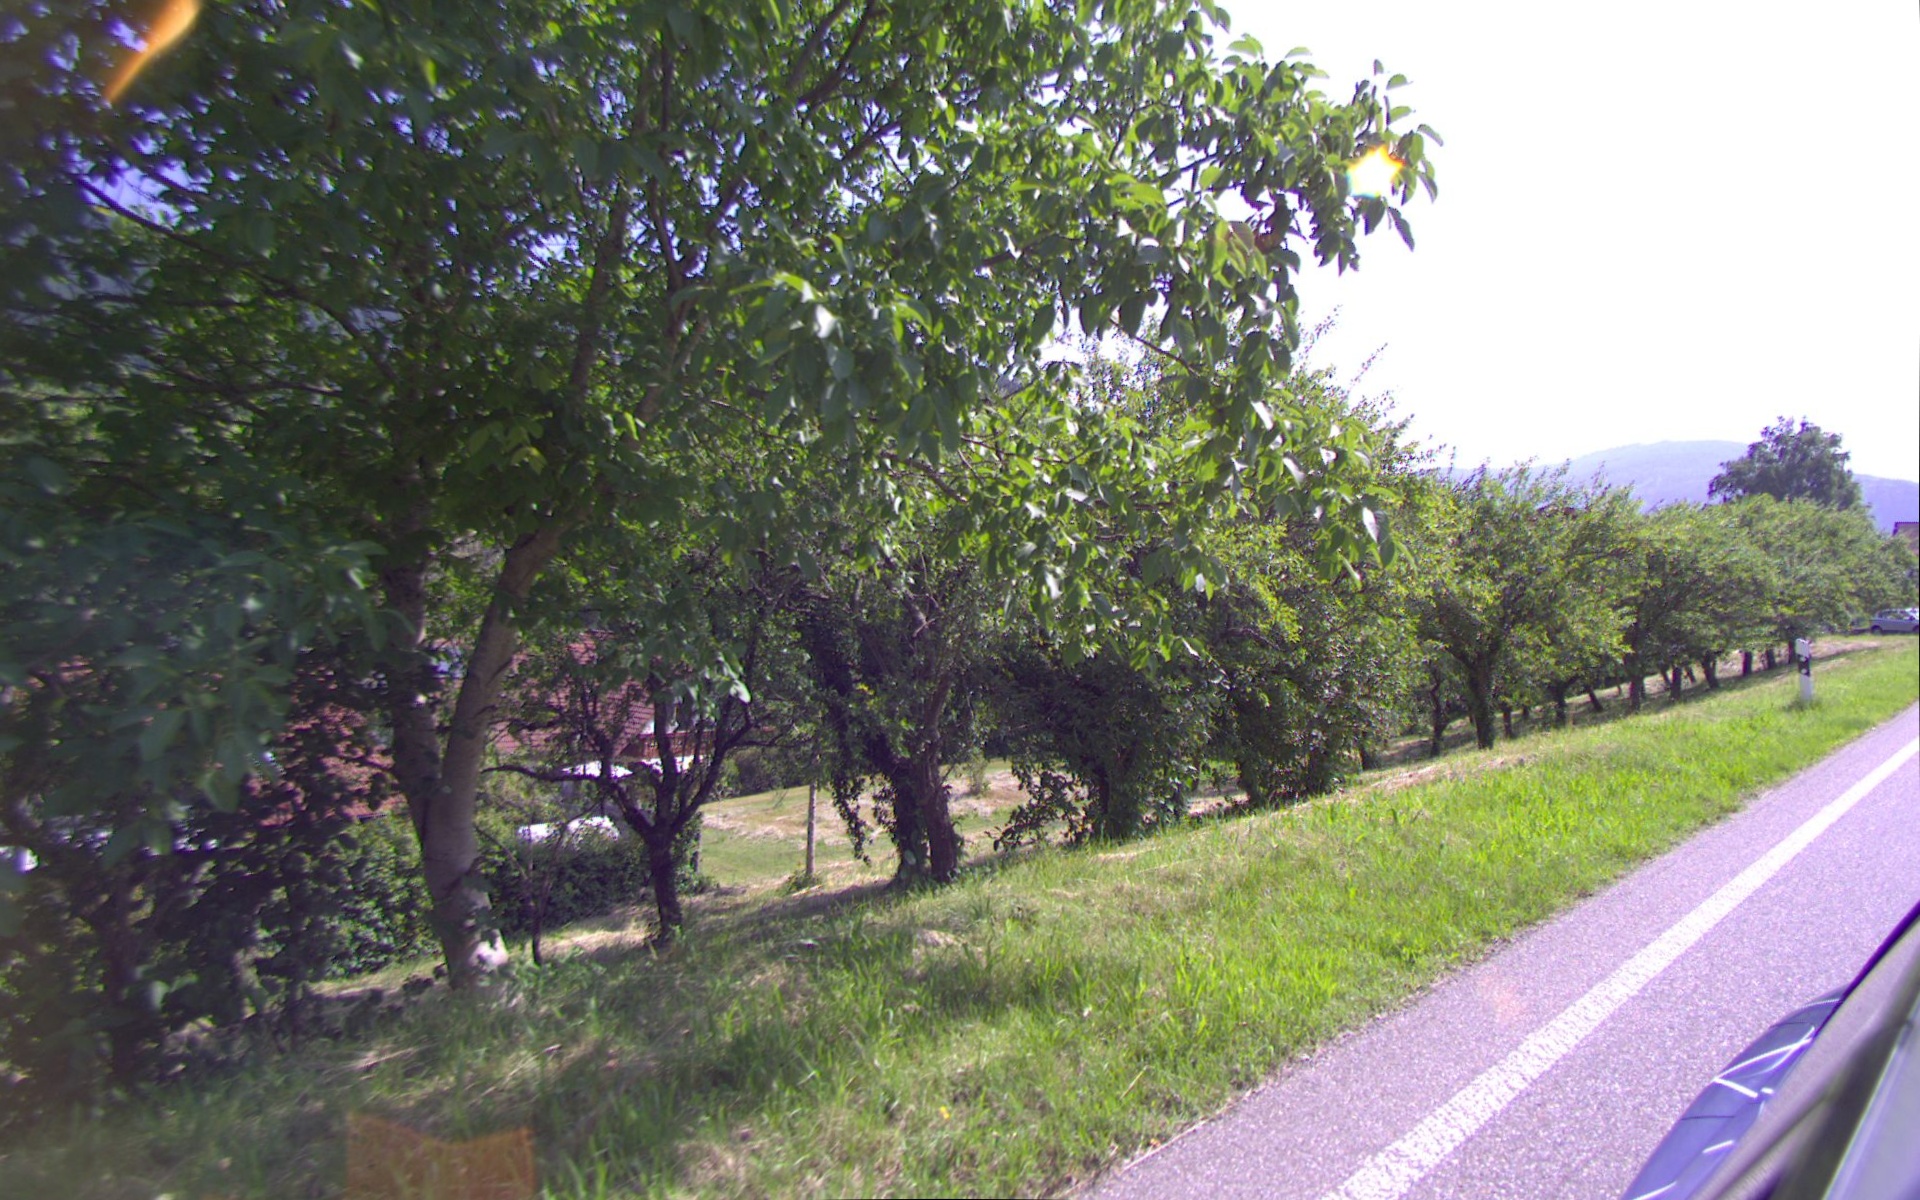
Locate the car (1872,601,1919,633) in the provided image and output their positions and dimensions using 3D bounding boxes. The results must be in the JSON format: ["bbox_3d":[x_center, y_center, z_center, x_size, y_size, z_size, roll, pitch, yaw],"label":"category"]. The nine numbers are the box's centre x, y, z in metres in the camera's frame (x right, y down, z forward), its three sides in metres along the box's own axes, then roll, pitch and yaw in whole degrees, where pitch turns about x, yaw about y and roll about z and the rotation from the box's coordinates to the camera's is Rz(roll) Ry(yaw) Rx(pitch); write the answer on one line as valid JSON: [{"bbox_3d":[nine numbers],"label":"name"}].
[{"bbox_3d":[49.818,0.854,52.043,1.871,1.591,4.456,-3,-2,3],"label":"car"}]
